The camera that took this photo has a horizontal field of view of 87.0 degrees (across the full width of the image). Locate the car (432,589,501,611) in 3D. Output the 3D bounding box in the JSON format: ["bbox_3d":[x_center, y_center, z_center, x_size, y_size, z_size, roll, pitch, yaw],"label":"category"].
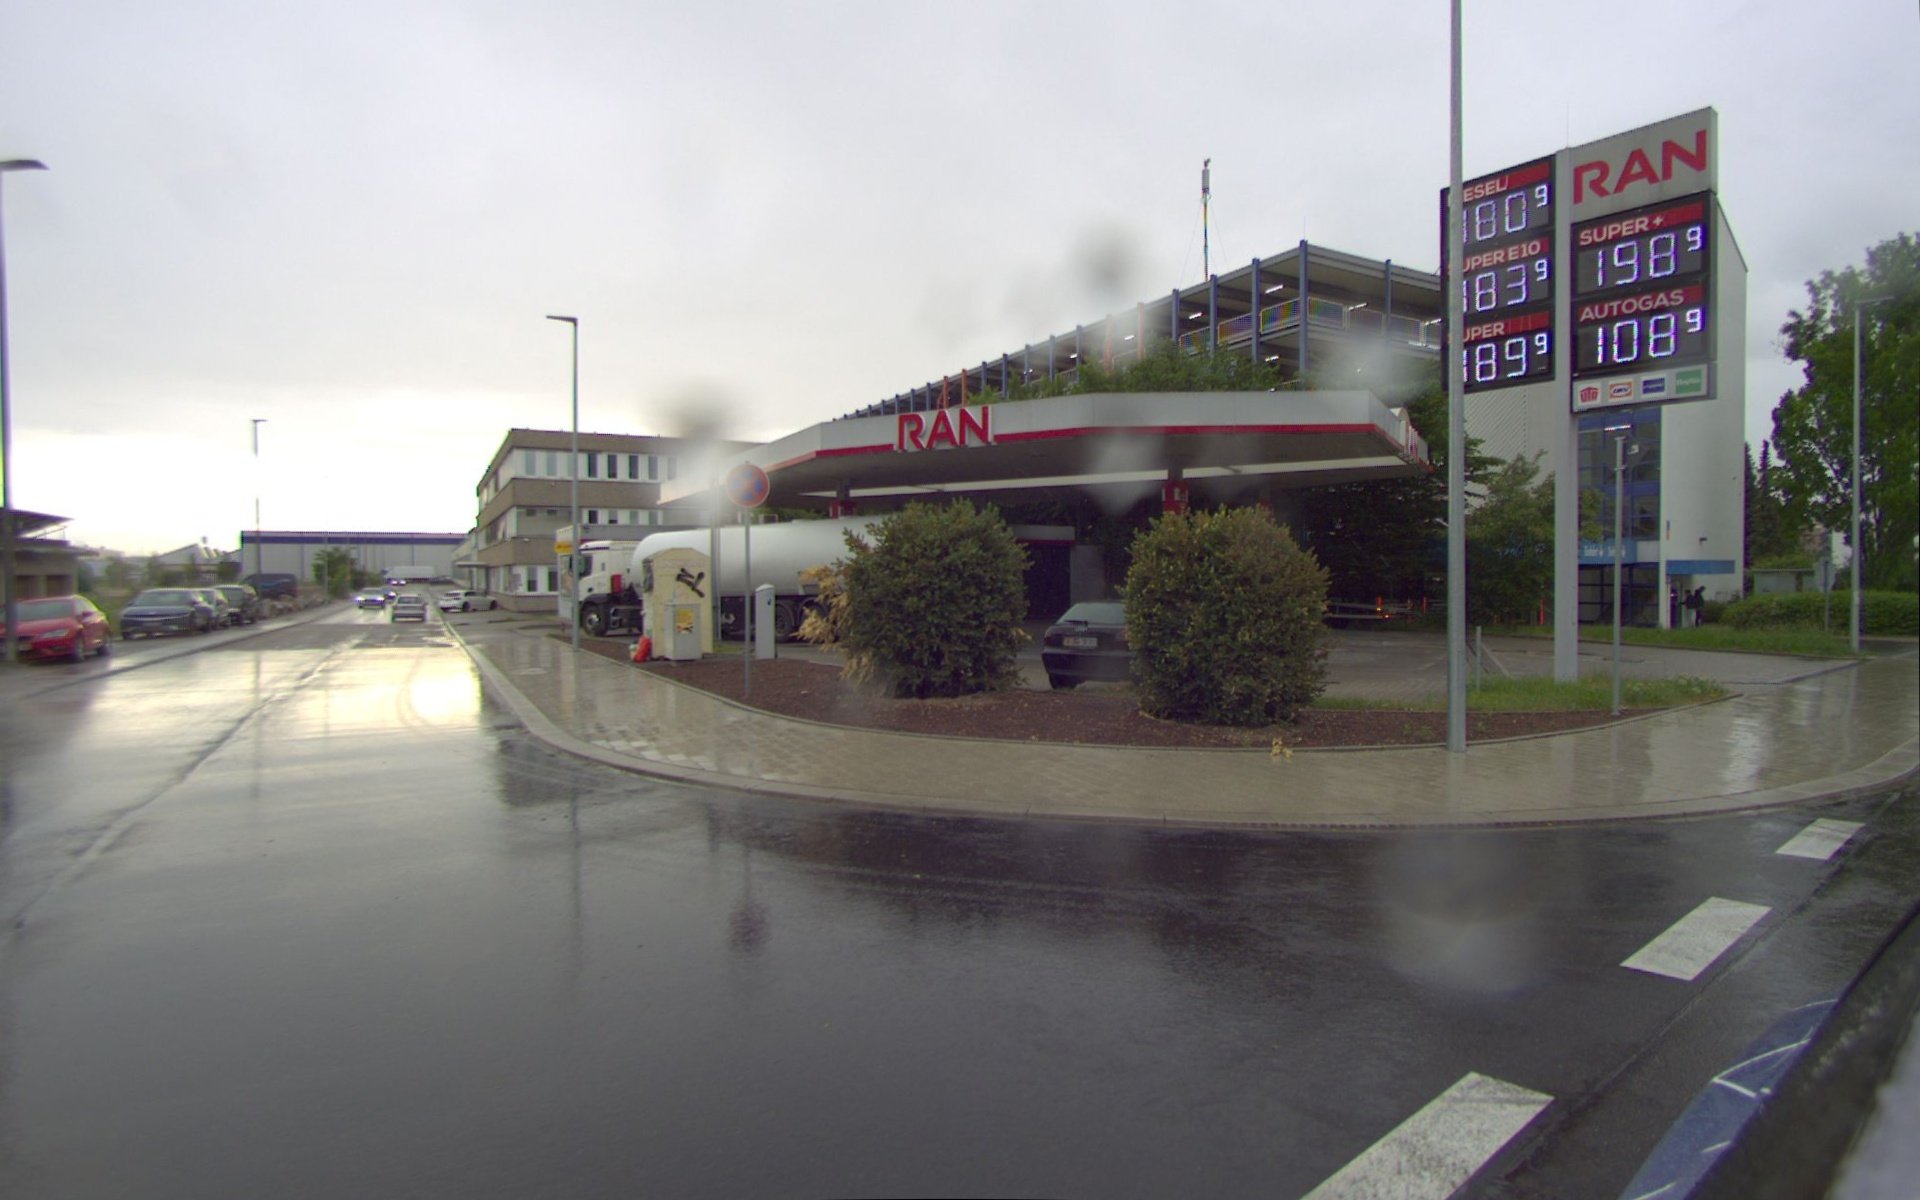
[{"bbox_3d":[-33.816,-0.031,69.521,1.968,1.456,4.536,0,1,11],"label":"car"}]

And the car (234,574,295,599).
[{"bbox_3d":[-66.734,-1.298,97.186,4.693,2.314,2.000,-1,-1,-33],"label":"car"}]

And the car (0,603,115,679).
[{"bbox_3d":[-20.129,0.832,22.052,1.960,1.394,4.264,0,1,-31],"label":"car"}]

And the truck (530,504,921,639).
[{"bbox_3d":[-7.686,-0.661,30.713,14.314,3.403,2.614,0,-2,35],"label":"truck"}]

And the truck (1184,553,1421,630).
[{"bbox_3d":[11.179,-0.357,33.687,7.280,2.234,2.051,3,0,45],"label":"truck"}]

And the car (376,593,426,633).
[{"bbox_3d":[-30.275,0.658,54.765,1.962,2.039,4.000,0,1,-35],"label":"car"}]

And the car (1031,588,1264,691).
[{"bbox_3d":[3.029,0.497,15.631,1.686,1.356,4.278,0,1,40],"label":"car"}]

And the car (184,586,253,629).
[{"bbox_3d":[-32.724,0.300,44.750,1.960,1.805,4.005,-1,1,-29],"label":"car"}]

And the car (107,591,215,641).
[{"bbox_3d":[-27.080,0.509,34.453,1.959,1.528,4.203,1,0,-26],"label":"car"}]

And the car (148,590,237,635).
[{"bbox_3d":[-30.054,0.471,39.775,1.959,1.609,4.203,1,0,-26],"label":"car"}]

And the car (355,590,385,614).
[{"bbox_3d":[-46.017,0.127,79.014,1.960,1.805,4.005,-1,1,-29],"label":"car"}]
